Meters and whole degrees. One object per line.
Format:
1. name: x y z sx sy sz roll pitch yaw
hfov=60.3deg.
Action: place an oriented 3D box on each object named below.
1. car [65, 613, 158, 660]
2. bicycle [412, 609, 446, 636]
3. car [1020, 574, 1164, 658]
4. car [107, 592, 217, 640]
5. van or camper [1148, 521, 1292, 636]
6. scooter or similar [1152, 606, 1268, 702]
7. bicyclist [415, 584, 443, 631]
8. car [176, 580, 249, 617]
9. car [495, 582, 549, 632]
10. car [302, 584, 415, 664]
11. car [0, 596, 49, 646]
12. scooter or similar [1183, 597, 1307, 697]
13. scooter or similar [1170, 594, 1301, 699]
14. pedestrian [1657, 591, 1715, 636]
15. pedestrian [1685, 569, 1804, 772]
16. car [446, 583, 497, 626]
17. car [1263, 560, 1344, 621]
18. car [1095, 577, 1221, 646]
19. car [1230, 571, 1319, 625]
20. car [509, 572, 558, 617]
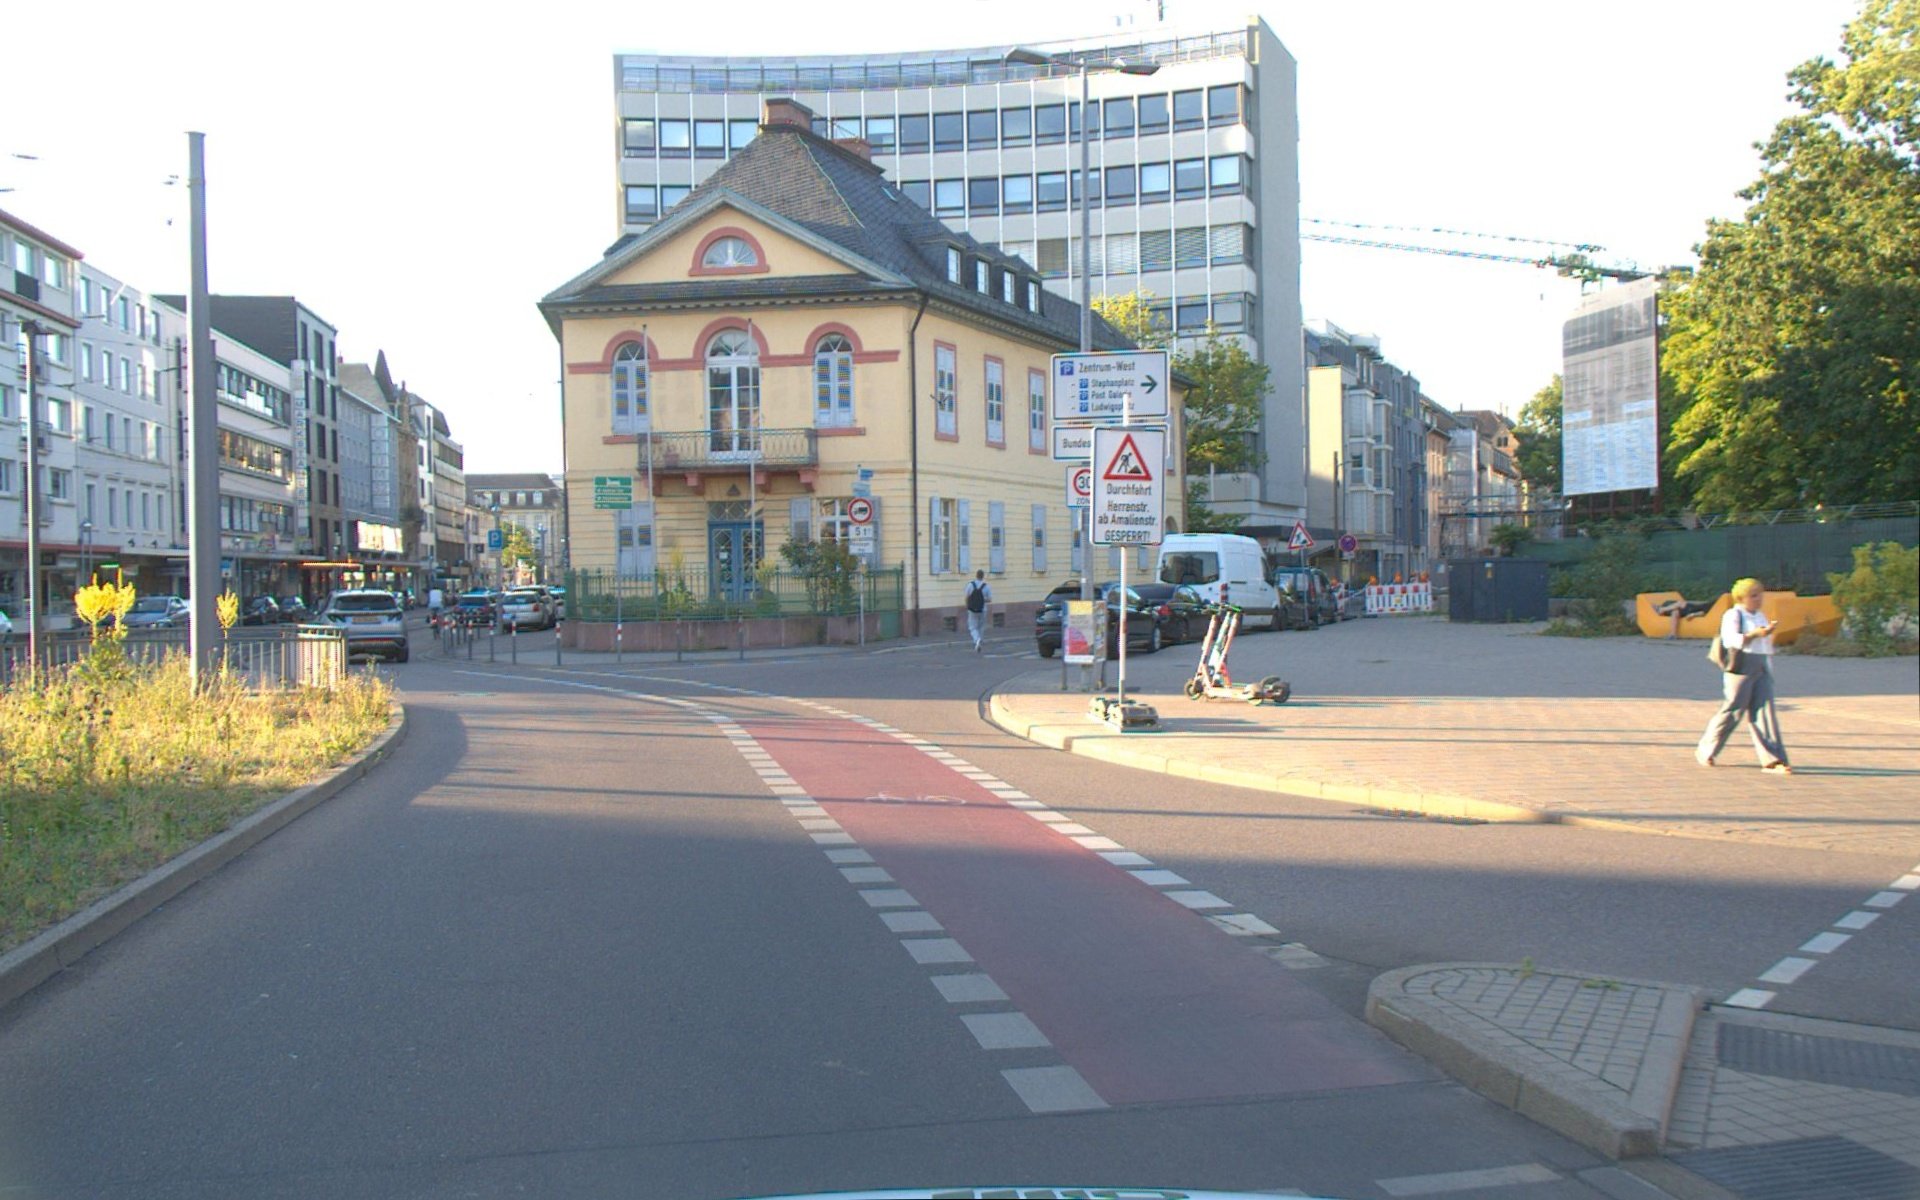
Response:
1. car: -33.556 1.415 65.545 1.955 1.694 3.994 -1 1 -7
2. bicycle: -18.243 0.765 56.862 0.814 0.885 2.542 -1 1 -12
3. car: 2.803 0.287 34.162 1.742 1.570 4.290 -1 1 22
4. car: -28.527 0.555 59.254 2.155 1.586 4.275 -1 1 -6
5. van or camper: 7.033 -0.572 44.034 2.036 2.823 6.445 -1 1 25
6. scooter or similar: 3.178 0.681 21.071 1.374 1.186 0.460 -1 1 31
7. bicyclist: -18.185 0.246 56.655 0.815 1.596 0.785 -1 0 -12
8. car: -35.273 -0.073 78.136 1.956 1.694 3.994 -1 0 -7
9. car: -16.184 0.252 61.253 1.701 1.738 3.429 -2 0 -12
10. car: -13.833 0.501 37.891 1.920 1.690 4.496 -1 1 -27
11. car: -30.544 0.658 51.804 1.956 1.490 4.395 -1 1 -7
12. scooter or similar: 3.778 0.614 21.960 1.494 1.282 0.610 -1 1 32
13. scooter or similar: 3.559 0.582 21.428 1.618 1.315 0.460 0 1 32
14. pedestrian: 15.185 0.273 34.585 0.554 0.909 0.972 -1 1 -29
15. pedestrian: 6.552 0.573 13.833 0.674 1.641 0.596 -1 1 -6
16. car: -21.779 0.167 73.881 1.776 1.840 3.990 -1 1 -11
17. car: 11.063 -0.338 53.090 1.678 1.881 4.020 0 1 25
18. car: 4.687 0.228 38.561 1.694 1.454 4.472 0 1 24
19. car: 9.357 -0.081 48.934 1.658 1.485 4.097 0 1 25
20. car: -17.061 -0.233 66.305 1.701 1.738 3.795 -1 1 -12
